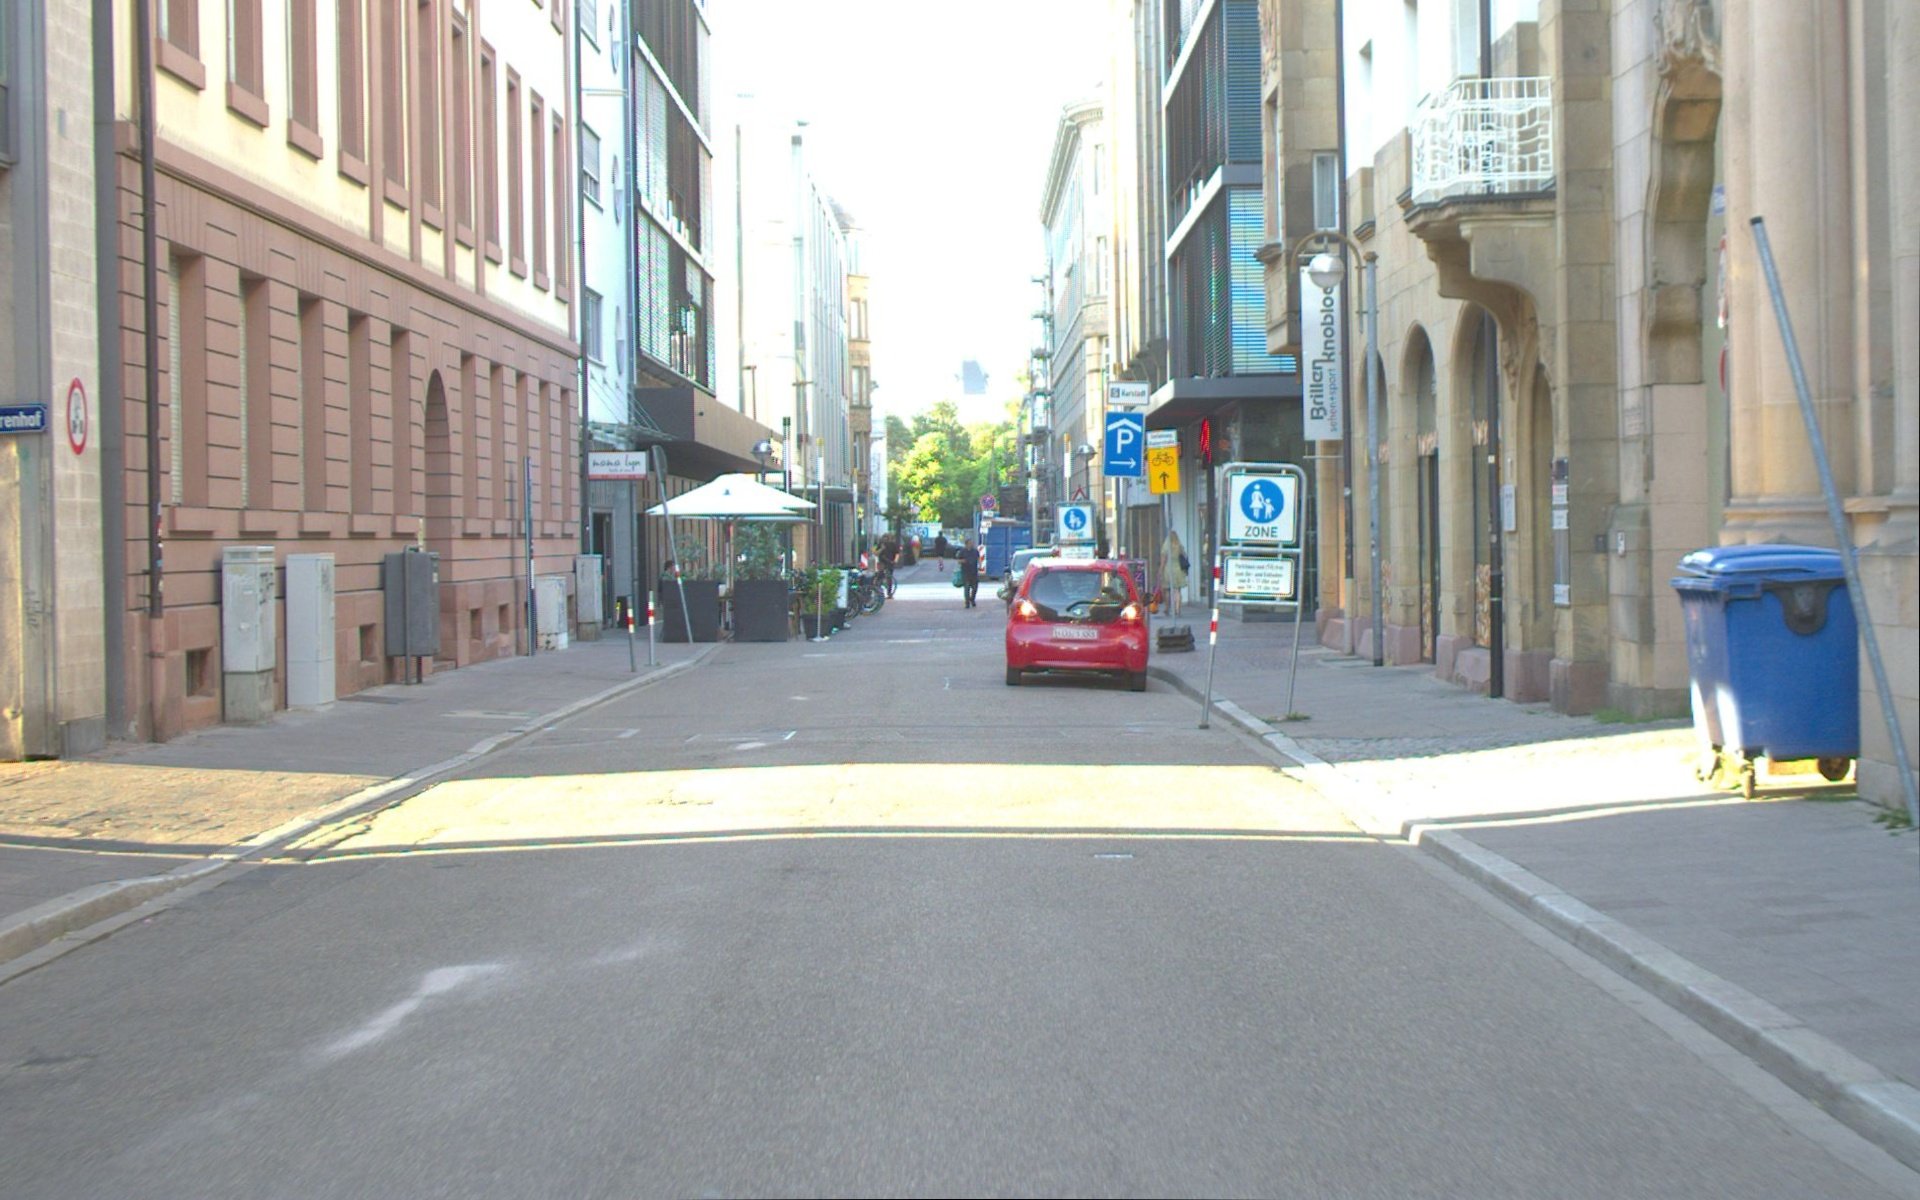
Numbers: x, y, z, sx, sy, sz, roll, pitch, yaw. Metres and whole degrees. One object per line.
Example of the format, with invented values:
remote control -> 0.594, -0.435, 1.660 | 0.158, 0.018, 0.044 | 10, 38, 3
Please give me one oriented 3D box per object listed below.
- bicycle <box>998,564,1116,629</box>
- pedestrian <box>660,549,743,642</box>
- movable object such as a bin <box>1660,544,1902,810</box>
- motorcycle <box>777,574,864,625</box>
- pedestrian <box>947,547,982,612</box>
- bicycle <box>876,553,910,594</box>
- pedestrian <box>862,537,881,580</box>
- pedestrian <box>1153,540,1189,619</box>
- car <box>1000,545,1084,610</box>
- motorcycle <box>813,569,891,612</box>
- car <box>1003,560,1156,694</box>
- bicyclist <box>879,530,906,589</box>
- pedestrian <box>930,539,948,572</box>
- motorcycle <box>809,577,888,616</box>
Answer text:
bicycle -> 1.742, -0.074, 61.704 | 2.052, 1.130, 0.649 | -1, 1, -3
pedestrian -> -4.183, -0.084, 55.706 | 1.290, 1.482, 0.661 | -1, 1, -2
movable object such as a bin -> 4.500, 0.401, 18.929 | 0.990, 1.387, 1.241 | -2, 1, 0
motorcycle -> -2.905, -0.018, 71.596 | 1.801, 1.037, 0.494 | -1, 1, -4
pedestrian -> 0.110, -0.540, 90.020 | 0.865, 1.707, 0.852 | -1, 1, -1
bicycle -> -1.897, -0.758, 96.995 | 0.636, 1.153, 2.502 | -1, 1, -9
pedestrian -> -3.361, -1.561, 130.621 | 0.678, 1.617, 0.625 | -1, 1, 2
pedestrian -> 3.967, -0.387, 64.629 | 0.656, 1.482, 0.493 | -1, 1, 2
car -> 2.103, -0.602, 89.304 | 1.993, 1.605, 4.000 | -1, 1, -1
motorcycle -> -2.548, -0.227, 80.812 | 1.801, 0.986, 0.560 | -1, 1, -4
car -> 1.345, 0.284, 39.899 | 1.649, 1.422, 3.535 | 2, 1, 1
bicyclist -> -1.902, -1.139, 96.987 | 0.636, 1.635, 0.772 | -1, 1, -9
pedestrian -> -1.061, -2.230, 172.330 | 0.804, 1.667, 0.888 | -1, 1, 2
motorcycle -> -2.599, -0.076, 79.775 | 1.801, 0.872, 0.560 | -1, 1, -4
